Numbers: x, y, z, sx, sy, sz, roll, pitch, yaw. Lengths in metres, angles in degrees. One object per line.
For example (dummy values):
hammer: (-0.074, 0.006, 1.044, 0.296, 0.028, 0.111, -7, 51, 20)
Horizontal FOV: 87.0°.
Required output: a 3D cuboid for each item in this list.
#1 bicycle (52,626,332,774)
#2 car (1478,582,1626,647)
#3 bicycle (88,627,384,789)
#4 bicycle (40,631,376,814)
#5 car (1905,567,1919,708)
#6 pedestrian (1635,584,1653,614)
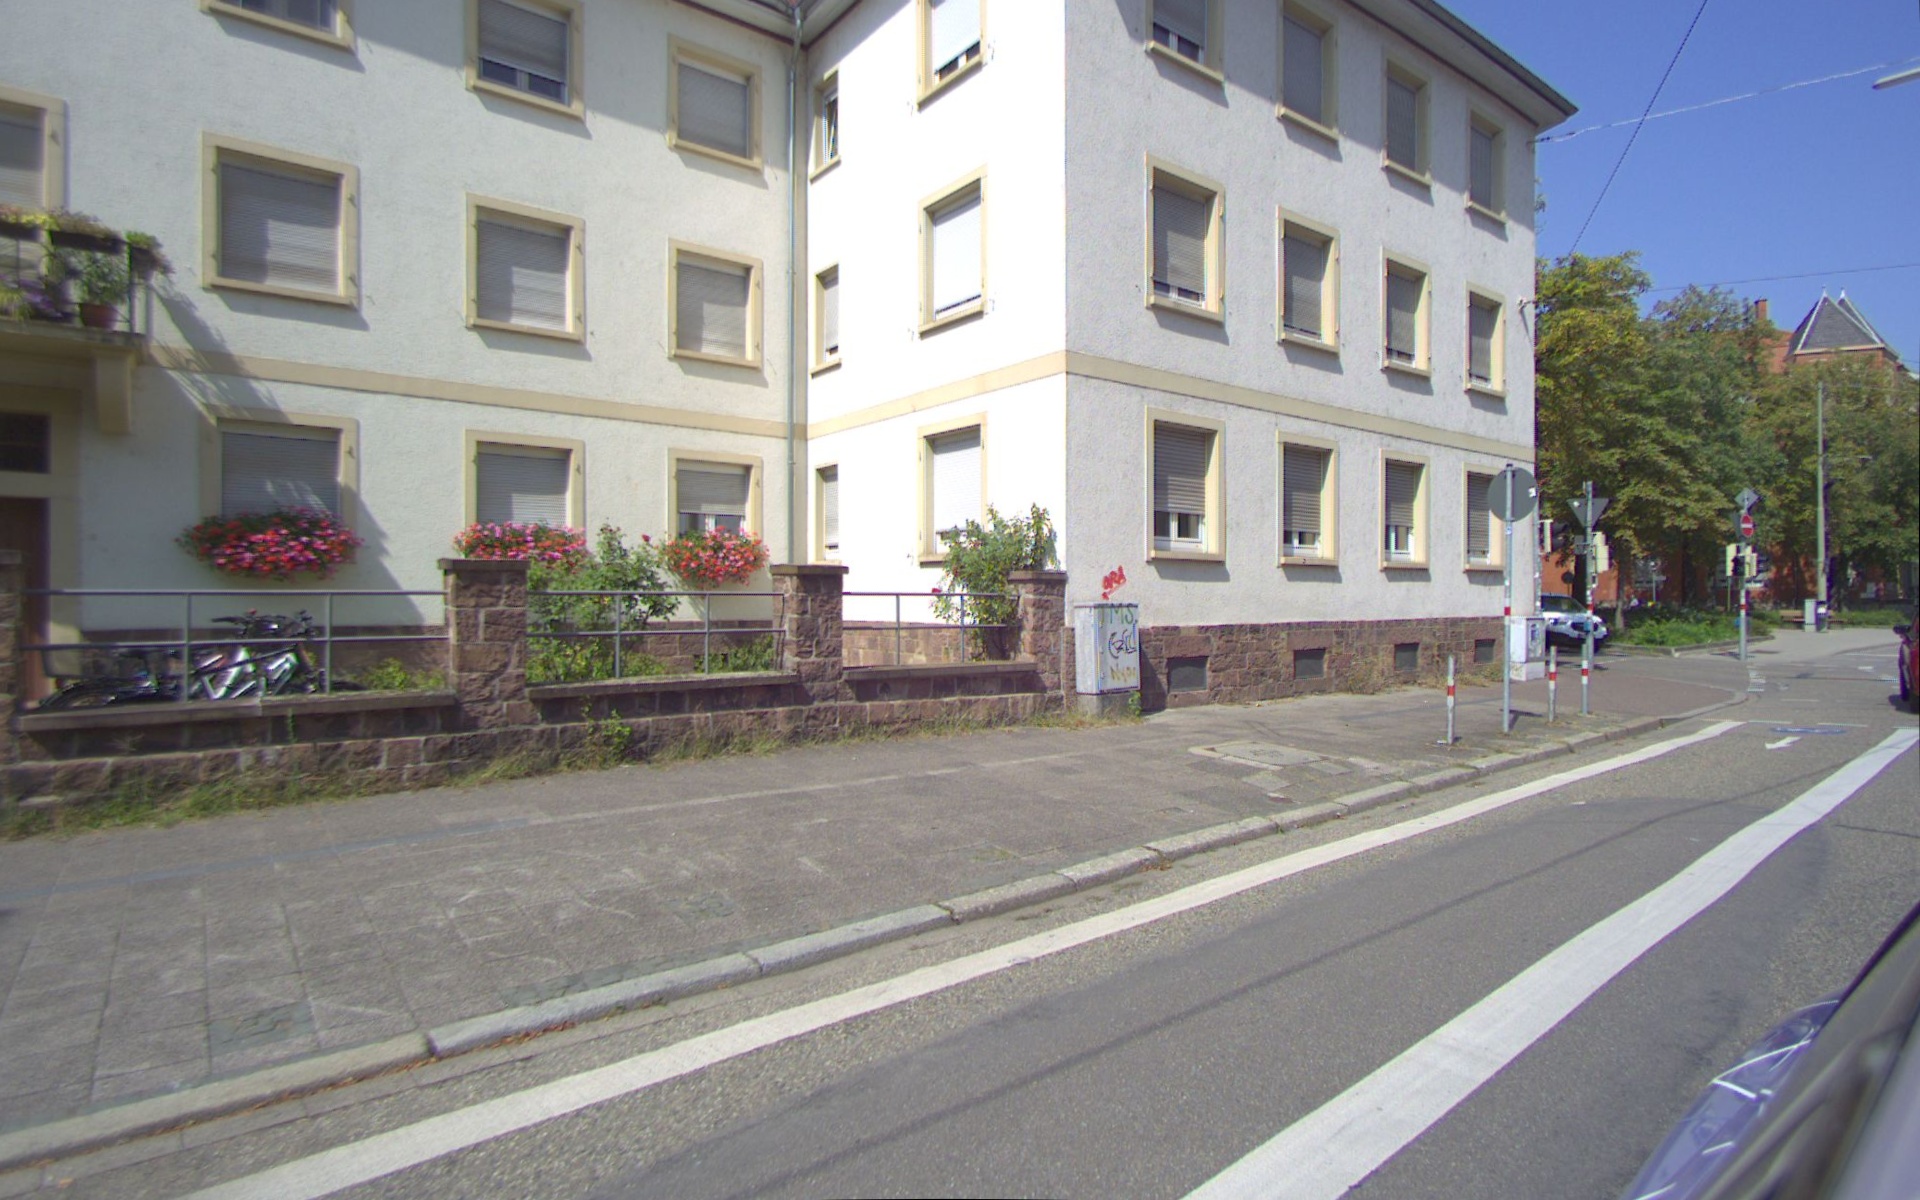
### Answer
bicycle: (-6.248, 0.765, 8.322, 1.797, 1.060, 0.441, 0, 0, -41)
car: (17.980, 0.420, 31.011, 1.769, 1.835, 4.418, 0, 0, -3)
bicycle: (-5.447, 0.761, 7.704, 1.797, 1.060, 0.441, 0, 0, -41)
bicycle: (-5.048, 0.767, 6.908, 1.797, 1.060, 0.441, 0, 0, -41)
car: (14.602, 0.470, 13.969, 4.339, 1.835, 1.801, 1, -3, -41)
pedestrian: (43.566, -0.072, 64.476, 0.665, 1.909, 0.919, 0, -1, 12)
